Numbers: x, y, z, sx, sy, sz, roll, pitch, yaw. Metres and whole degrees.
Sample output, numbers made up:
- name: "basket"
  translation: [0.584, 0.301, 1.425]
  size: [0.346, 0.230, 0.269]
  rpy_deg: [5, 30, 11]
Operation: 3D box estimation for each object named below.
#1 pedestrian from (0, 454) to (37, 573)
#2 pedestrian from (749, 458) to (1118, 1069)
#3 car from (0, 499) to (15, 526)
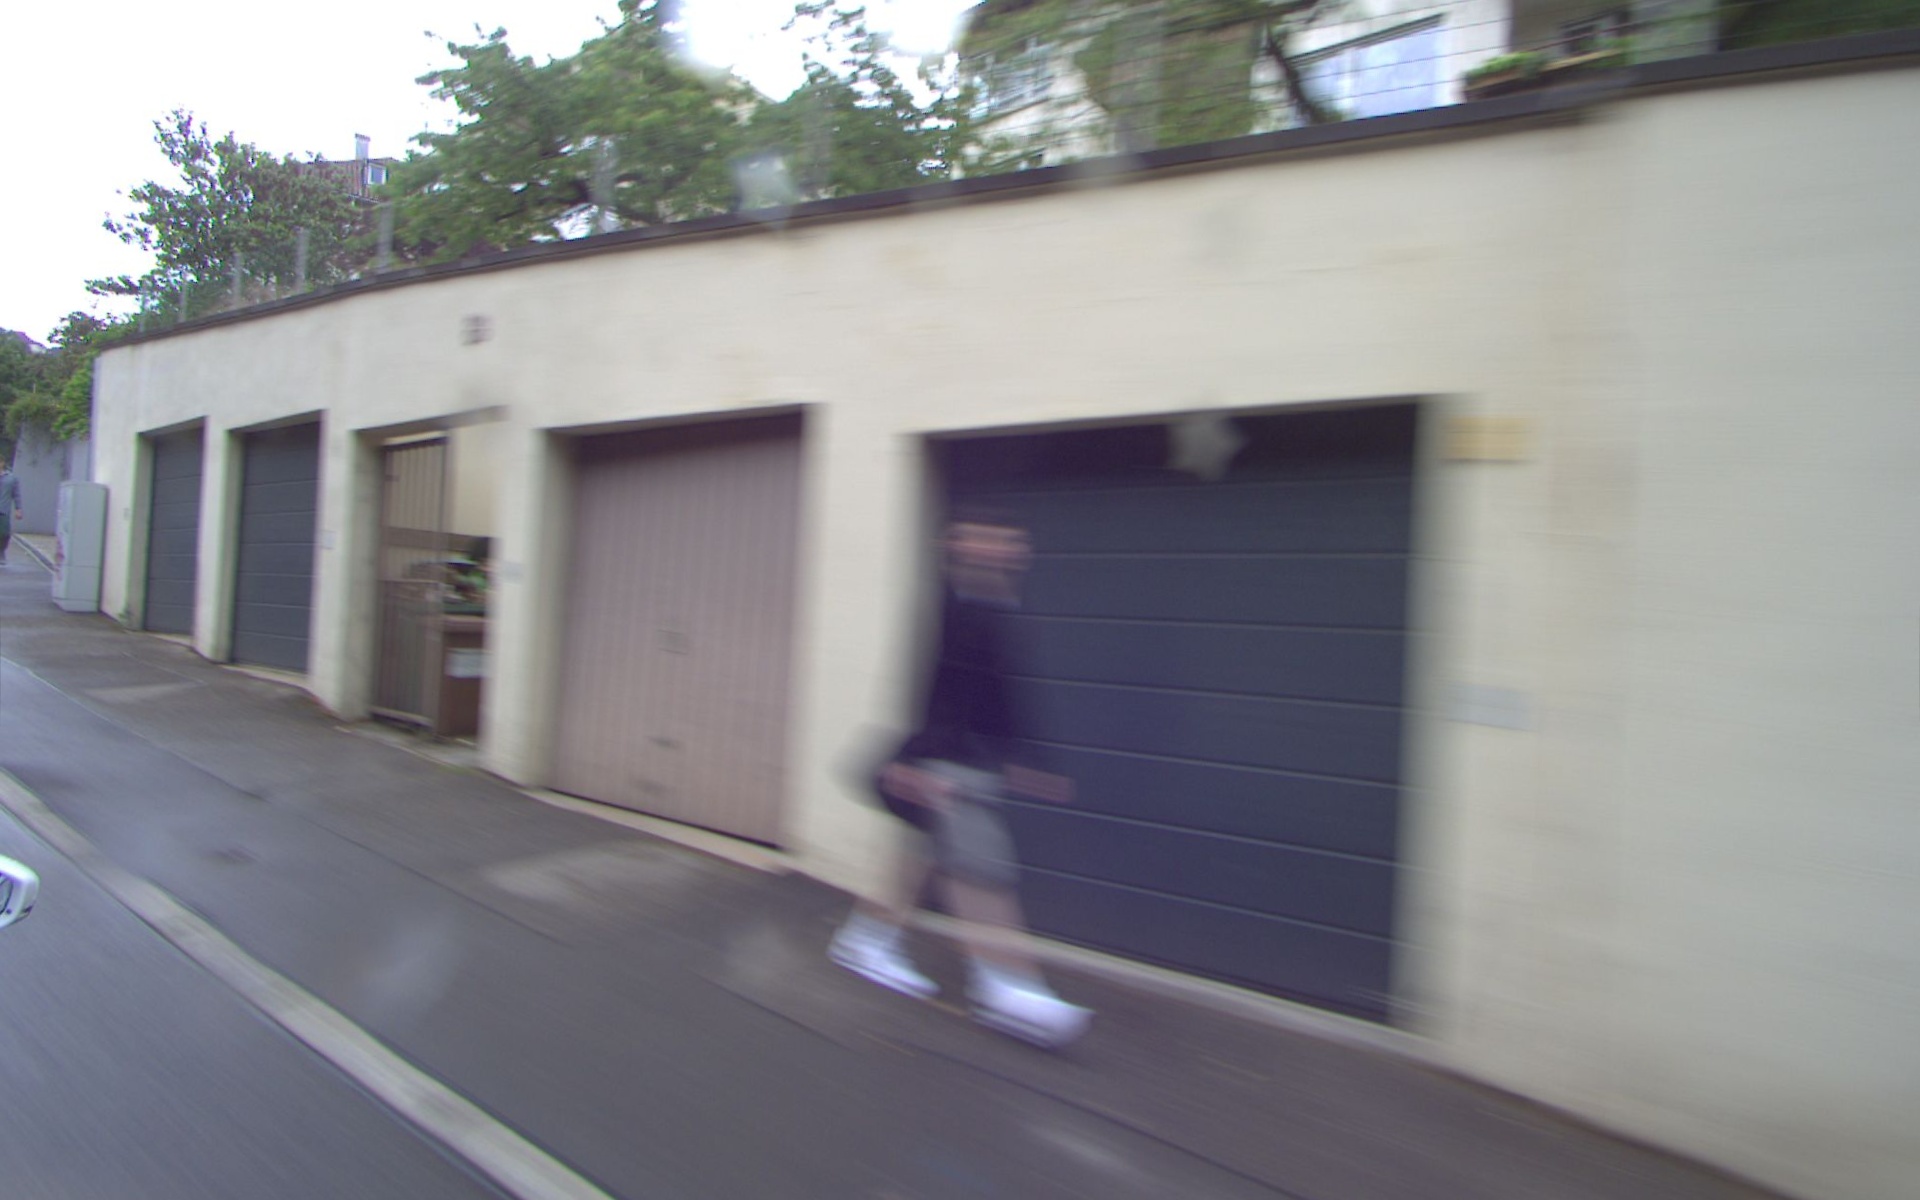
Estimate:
- name: "pedestrian"
  translation: [-15.697, -1.425, 16.383]
  size: [1.233, 1.856, 0.774]
  rpy_deg: [6, 2, 40]
- name: "pedestrian"
  translation: [-0.074, 0.504, 3.672]
  size: [0.790, 1.874, 0.899]
  rpy_deg: [7, 1, 34]
- name: "car"
  translation: [-60.454, -5.576, 62.036]
  size: [1.789, 1.571, 4.769]
  rpy_deg: [6, -1, -27]
